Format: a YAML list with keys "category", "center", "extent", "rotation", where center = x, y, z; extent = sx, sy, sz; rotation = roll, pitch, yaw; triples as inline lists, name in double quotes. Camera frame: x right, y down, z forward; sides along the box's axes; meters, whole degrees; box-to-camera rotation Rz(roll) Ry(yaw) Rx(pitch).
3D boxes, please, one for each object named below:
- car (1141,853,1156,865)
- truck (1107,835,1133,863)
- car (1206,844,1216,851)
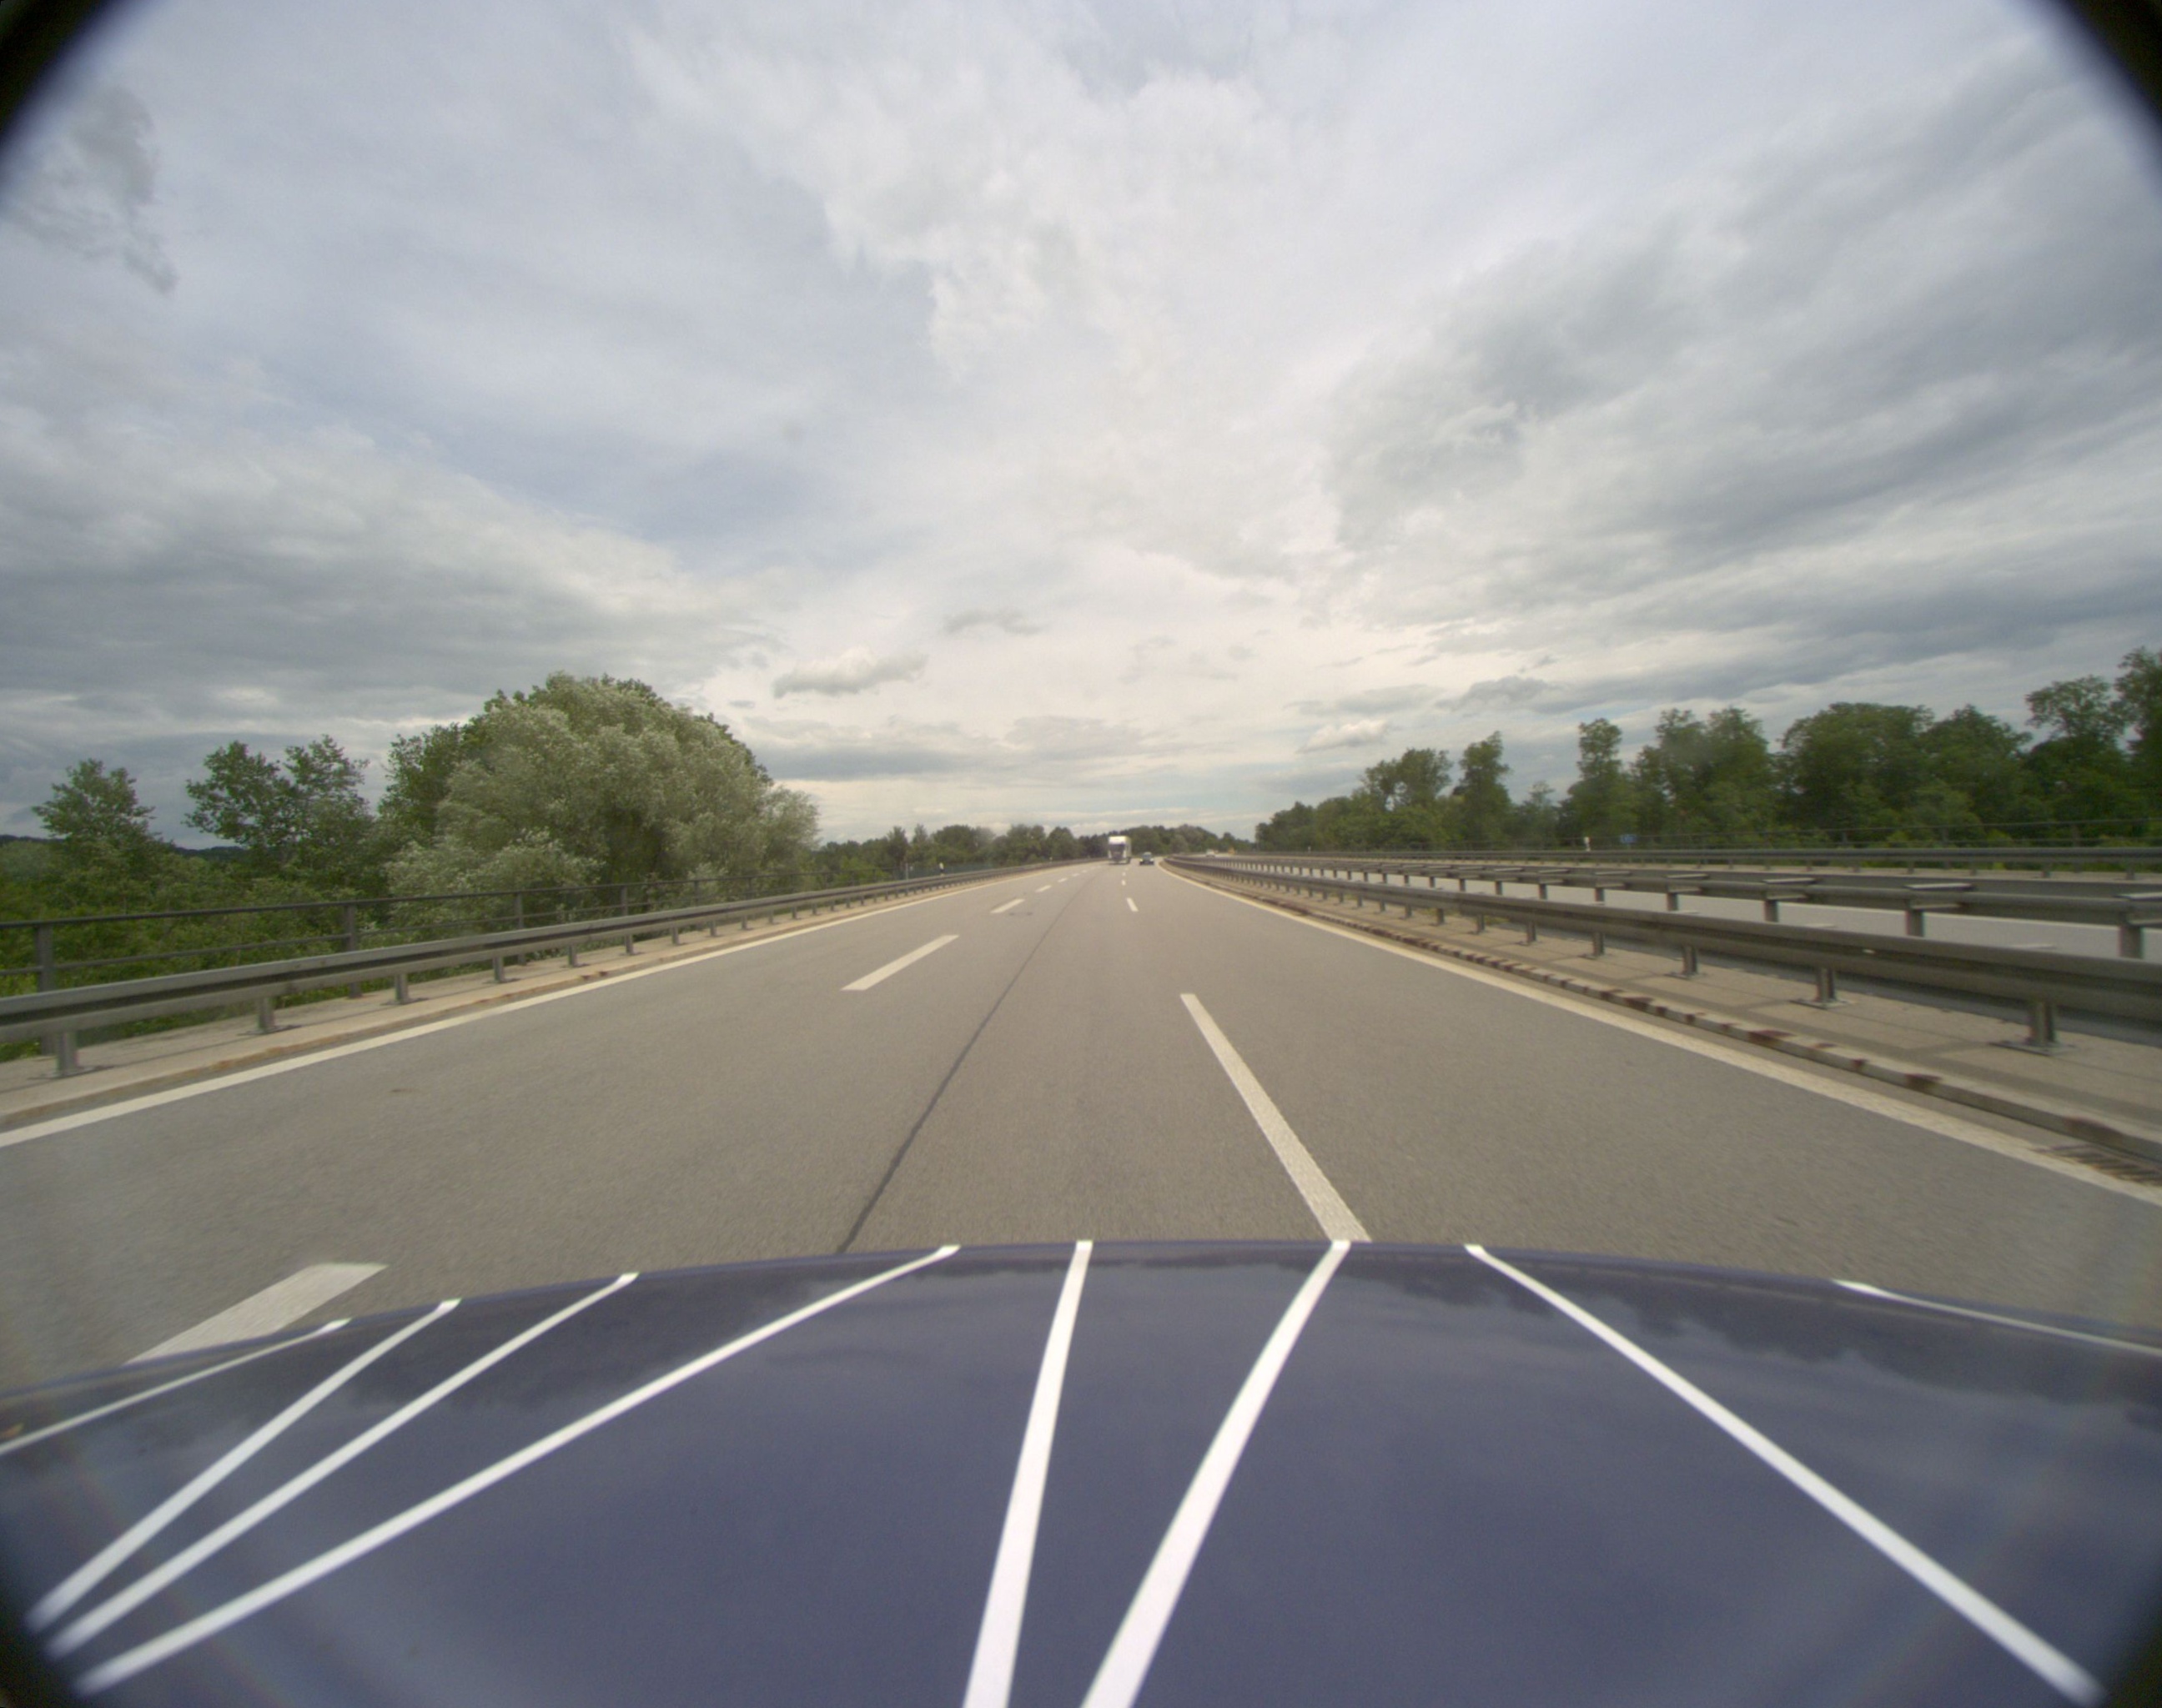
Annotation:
- category: "car"
  center: [8.638, 0.658, 96.741]
  extent: [1.774, 1.474, 4.700]
  rotation: [-1, -1, 7]
- category: "truck"
  center: [5.622, -0.694, 109.131]
  extent: [3.068, 3.869, 6.004]
  rotation: [-2, 0, 8]
- category: "car"
  center: [26.998, -1.273, 158.258]
  extent: [1.534, 1.398, 4.329]
  rotation: [-3, 0, 4]
